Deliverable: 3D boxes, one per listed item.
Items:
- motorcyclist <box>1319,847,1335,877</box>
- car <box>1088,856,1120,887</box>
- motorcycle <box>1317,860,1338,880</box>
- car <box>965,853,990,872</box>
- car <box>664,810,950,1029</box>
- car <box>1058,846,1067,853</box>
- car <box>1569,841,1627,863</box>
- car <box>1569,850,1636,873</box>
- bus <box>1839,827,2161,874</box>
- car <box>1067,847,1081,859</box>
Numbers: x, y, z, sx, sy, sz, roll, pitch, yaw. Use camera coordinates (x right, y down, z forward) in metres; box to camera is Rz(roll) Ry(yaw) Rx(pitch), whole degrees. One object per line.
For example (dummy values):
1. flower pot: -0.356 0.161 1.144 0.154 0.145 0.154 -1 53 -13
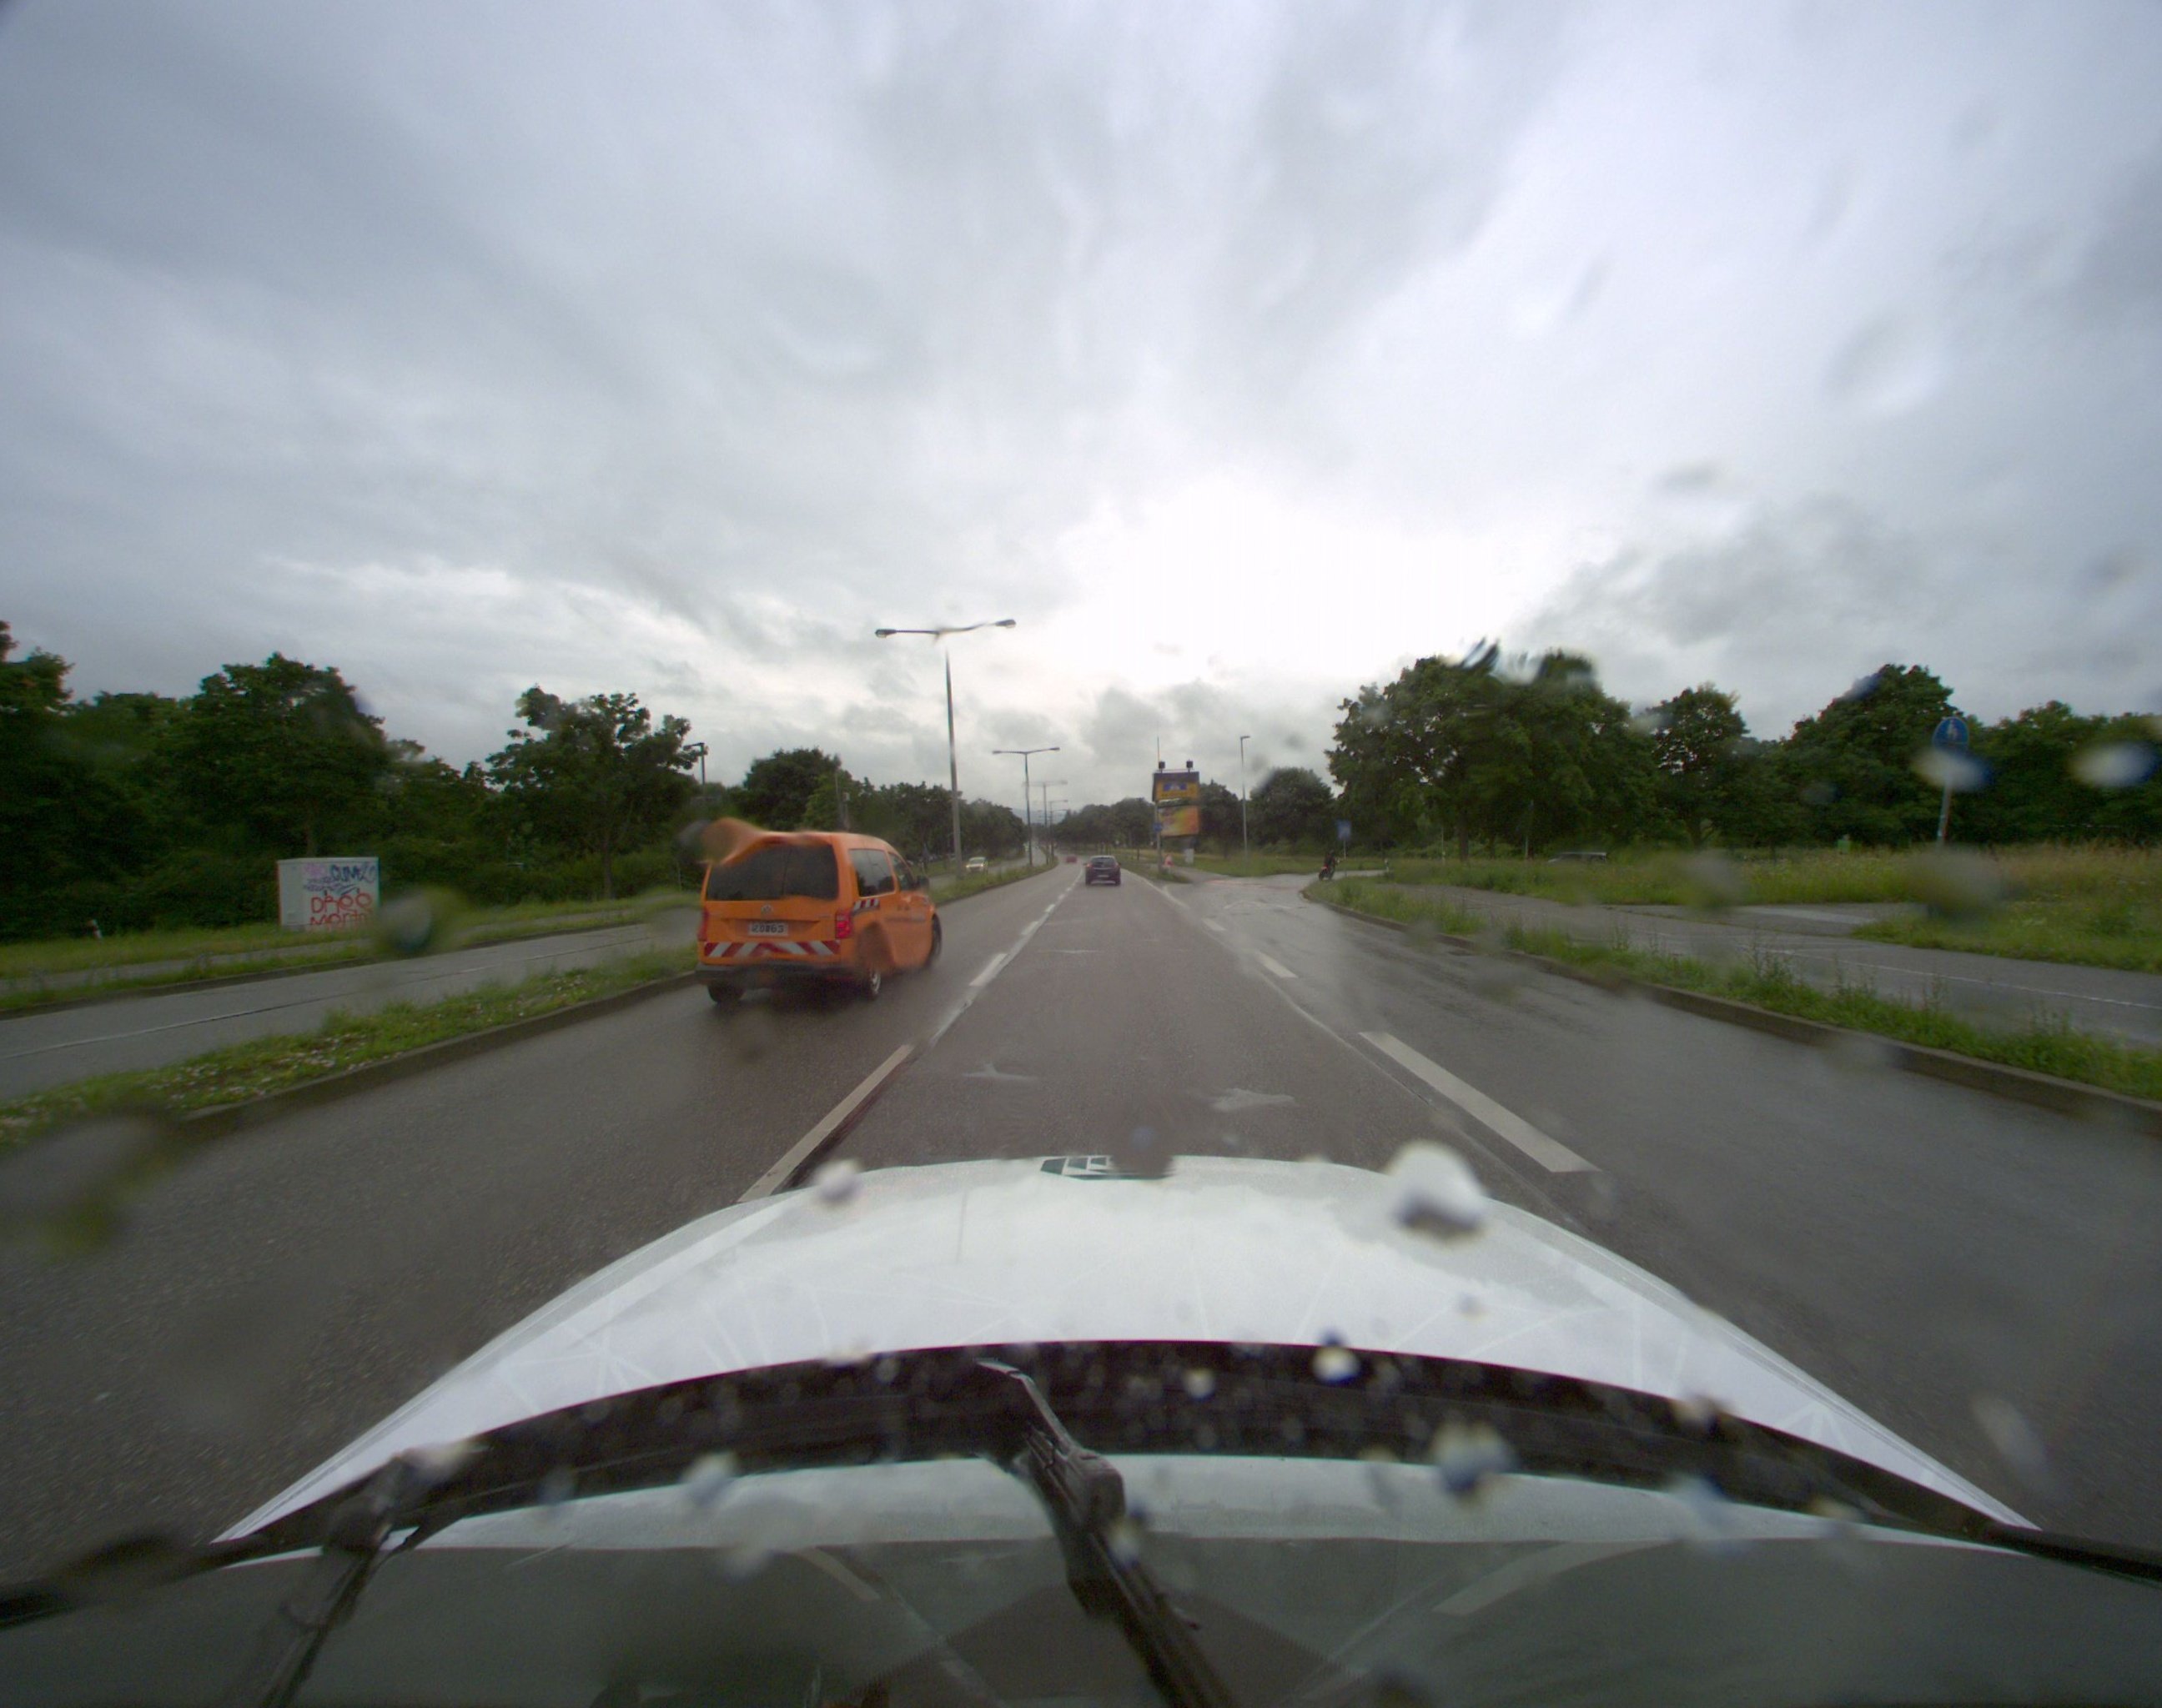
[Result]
1. motorcyclist: 14.039 0.451 46.450 0.595 1.690 0.866 -1 1 36
2. car: 1.100 0.829 39.993 1.458 1.328 3.758 -1 1 0
3. motorcycle: 14.061 0.912 46.472 0.595 1.093 1.743 -1 1 36
4. car: -10.133 0.812 79.779 1.701 1.629 4.492 -4 0 0
5. car: -2.920 0.611 9.944 1.728 2.019 4.850 0 0 1
6. car: -5.894 -1.292 257.273 2.510 2.052 5.287 -2 0 -3
7. car: 48.551 -0.196 76.605 4.549 1.974 2.079 -1 0 31
8. car: 39.635 0.565 61.944 3.976 1.618 1.859 -1 0 -2
9. bus: 62.159 -0.146 55.930 14.402 2.679 2.781 -2 0 33
10. car: -1.053 -0.115 127.467 1.987 1.879 4.000 -1 0 1
